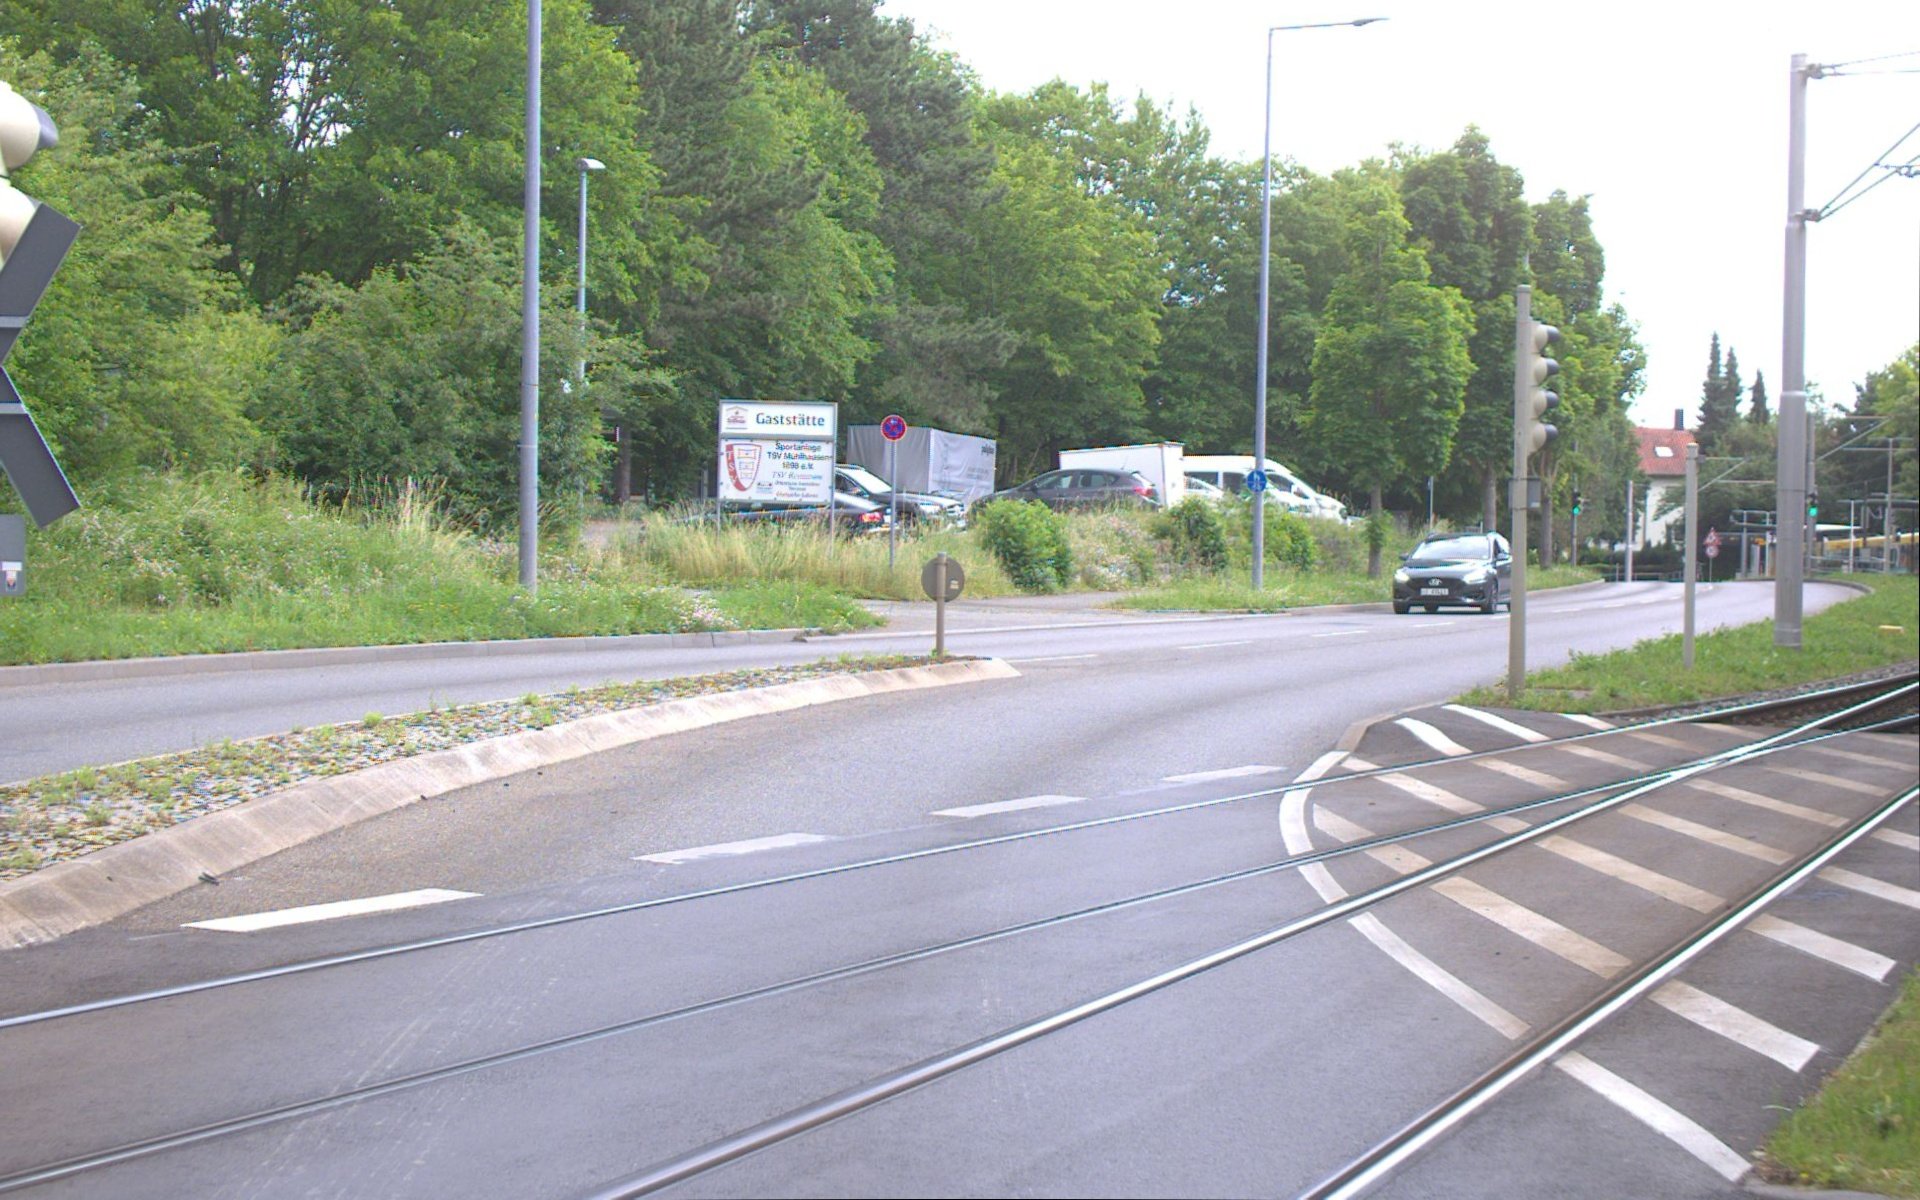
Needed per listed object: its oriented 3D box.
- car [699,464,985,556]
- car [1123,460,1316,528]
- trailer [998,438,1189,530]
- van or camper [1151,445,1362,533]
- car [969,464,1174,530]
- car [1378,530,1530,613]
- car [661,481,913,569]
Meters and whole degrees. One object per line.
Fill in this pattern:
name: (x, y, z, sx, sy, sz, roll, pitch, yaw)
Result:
car: (-2.227, -1.708, 65.117, 4.930, 1.579, 2.205, 2, 1, 16)
car: (6.876, -2.803, 91.025, 4.648, 1.650, 1.997, 2, 2, 24)
trailer: (3.097, -2.697, 79.835, 3.991, 2.006, 1.906, 2, 2, 20)
van or camper: (8.060, -3.013, 93.380, 5.337, 2.195, 1.998, 2, 2, 17)
car: (2.506, -2.298, 76.835, 4.314, 1.443, 1.835, 0, 1, 14)
car: (9.012, -0.537, 62.449, 1.995, 1.433, 4.422, 0, 1, 18)
car: (-3.011, -1.318, 60.141, 3.957, 1.392, 1.999, 2, 2, 15)
